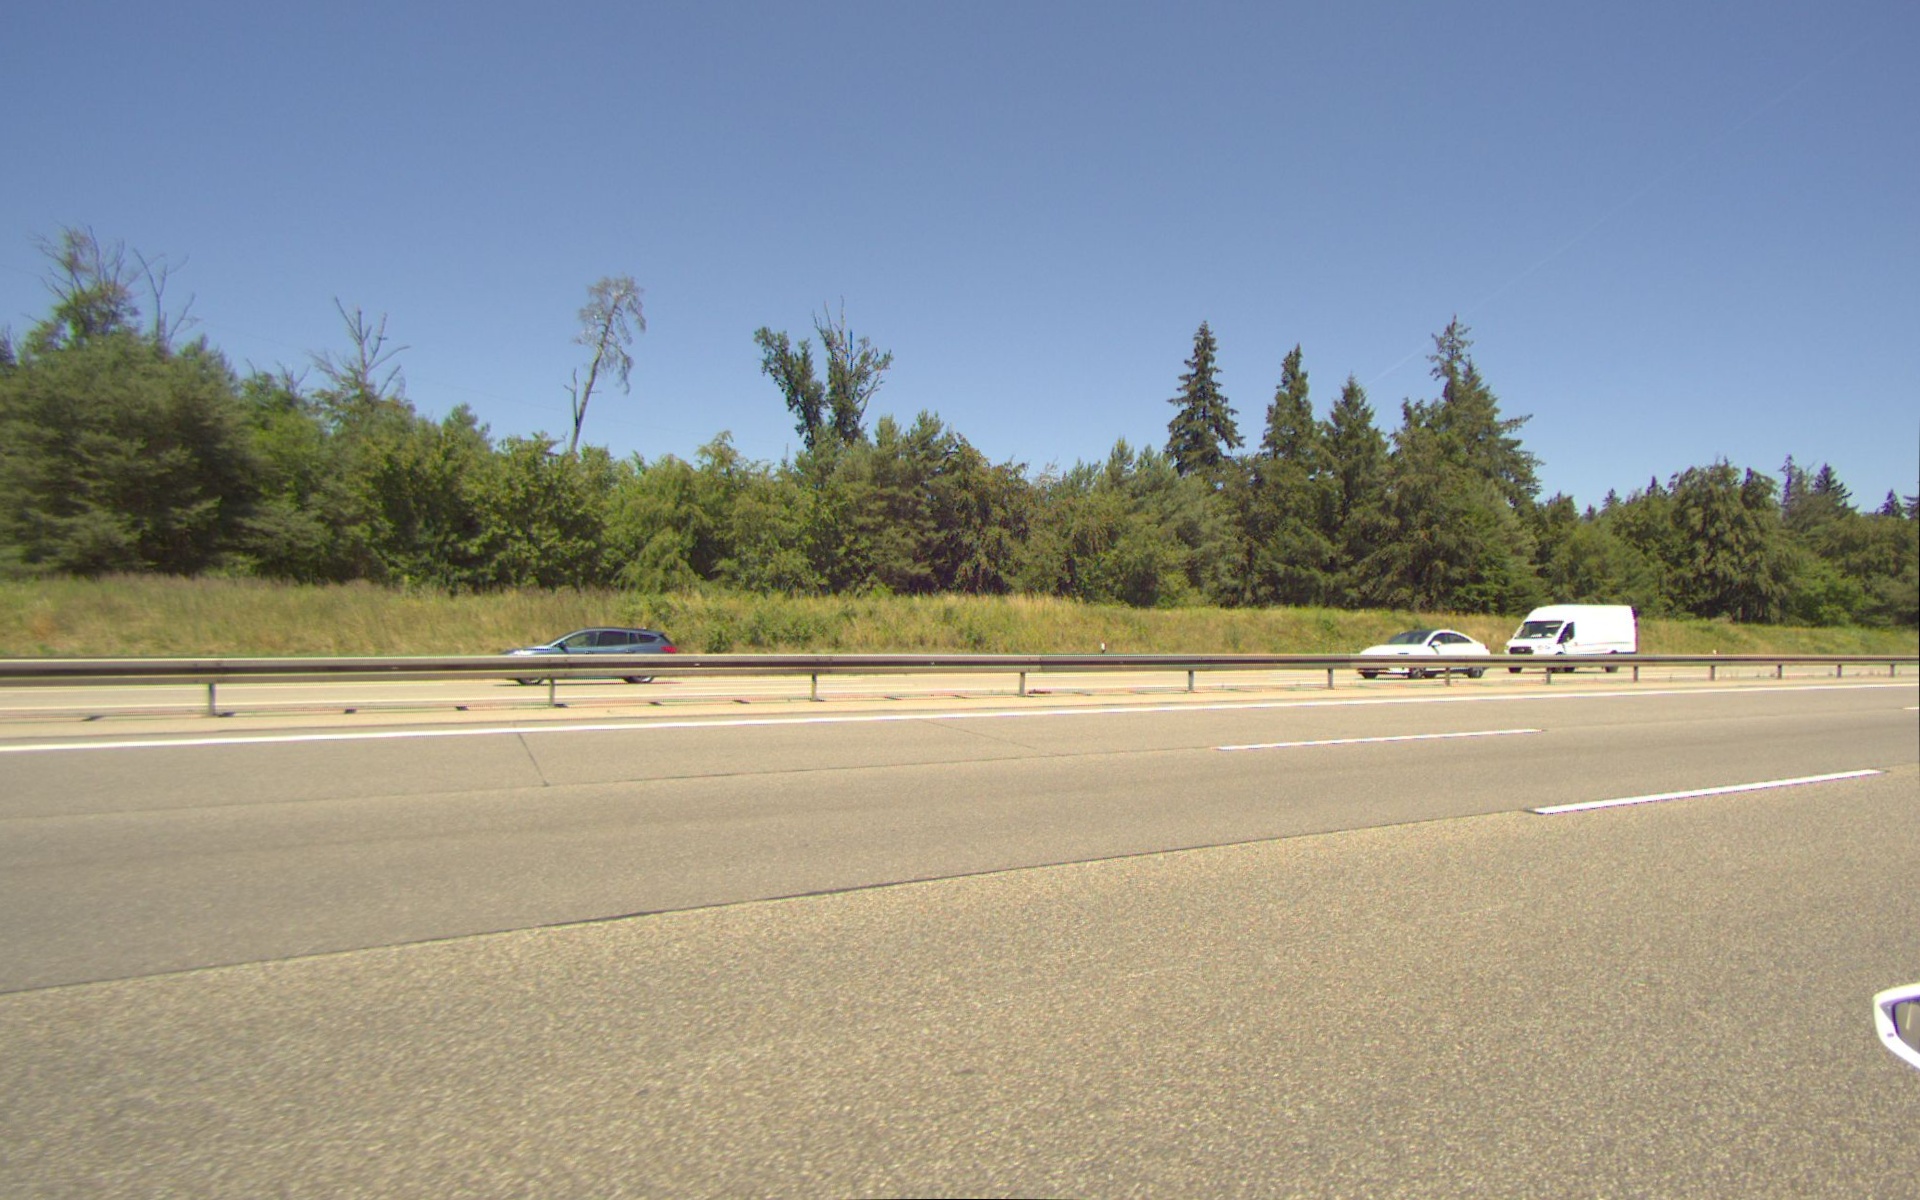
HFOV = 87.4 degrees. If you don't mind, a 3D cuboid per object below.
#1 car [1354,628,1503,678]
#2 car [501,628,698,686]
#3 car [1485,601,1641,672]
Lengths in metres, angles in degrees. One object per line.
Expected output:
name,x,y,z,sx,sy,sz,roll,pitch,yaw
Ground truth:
car,14.206,1.588,30.421,4.617,1.410,1.685,1,-3,-28
car,-9.290,1.454,25.988,4.617,1.410,1.685,1,-3,-28
car,24.780,1.522,41.180,6.788,2.746,2.334,1,-3,-29
